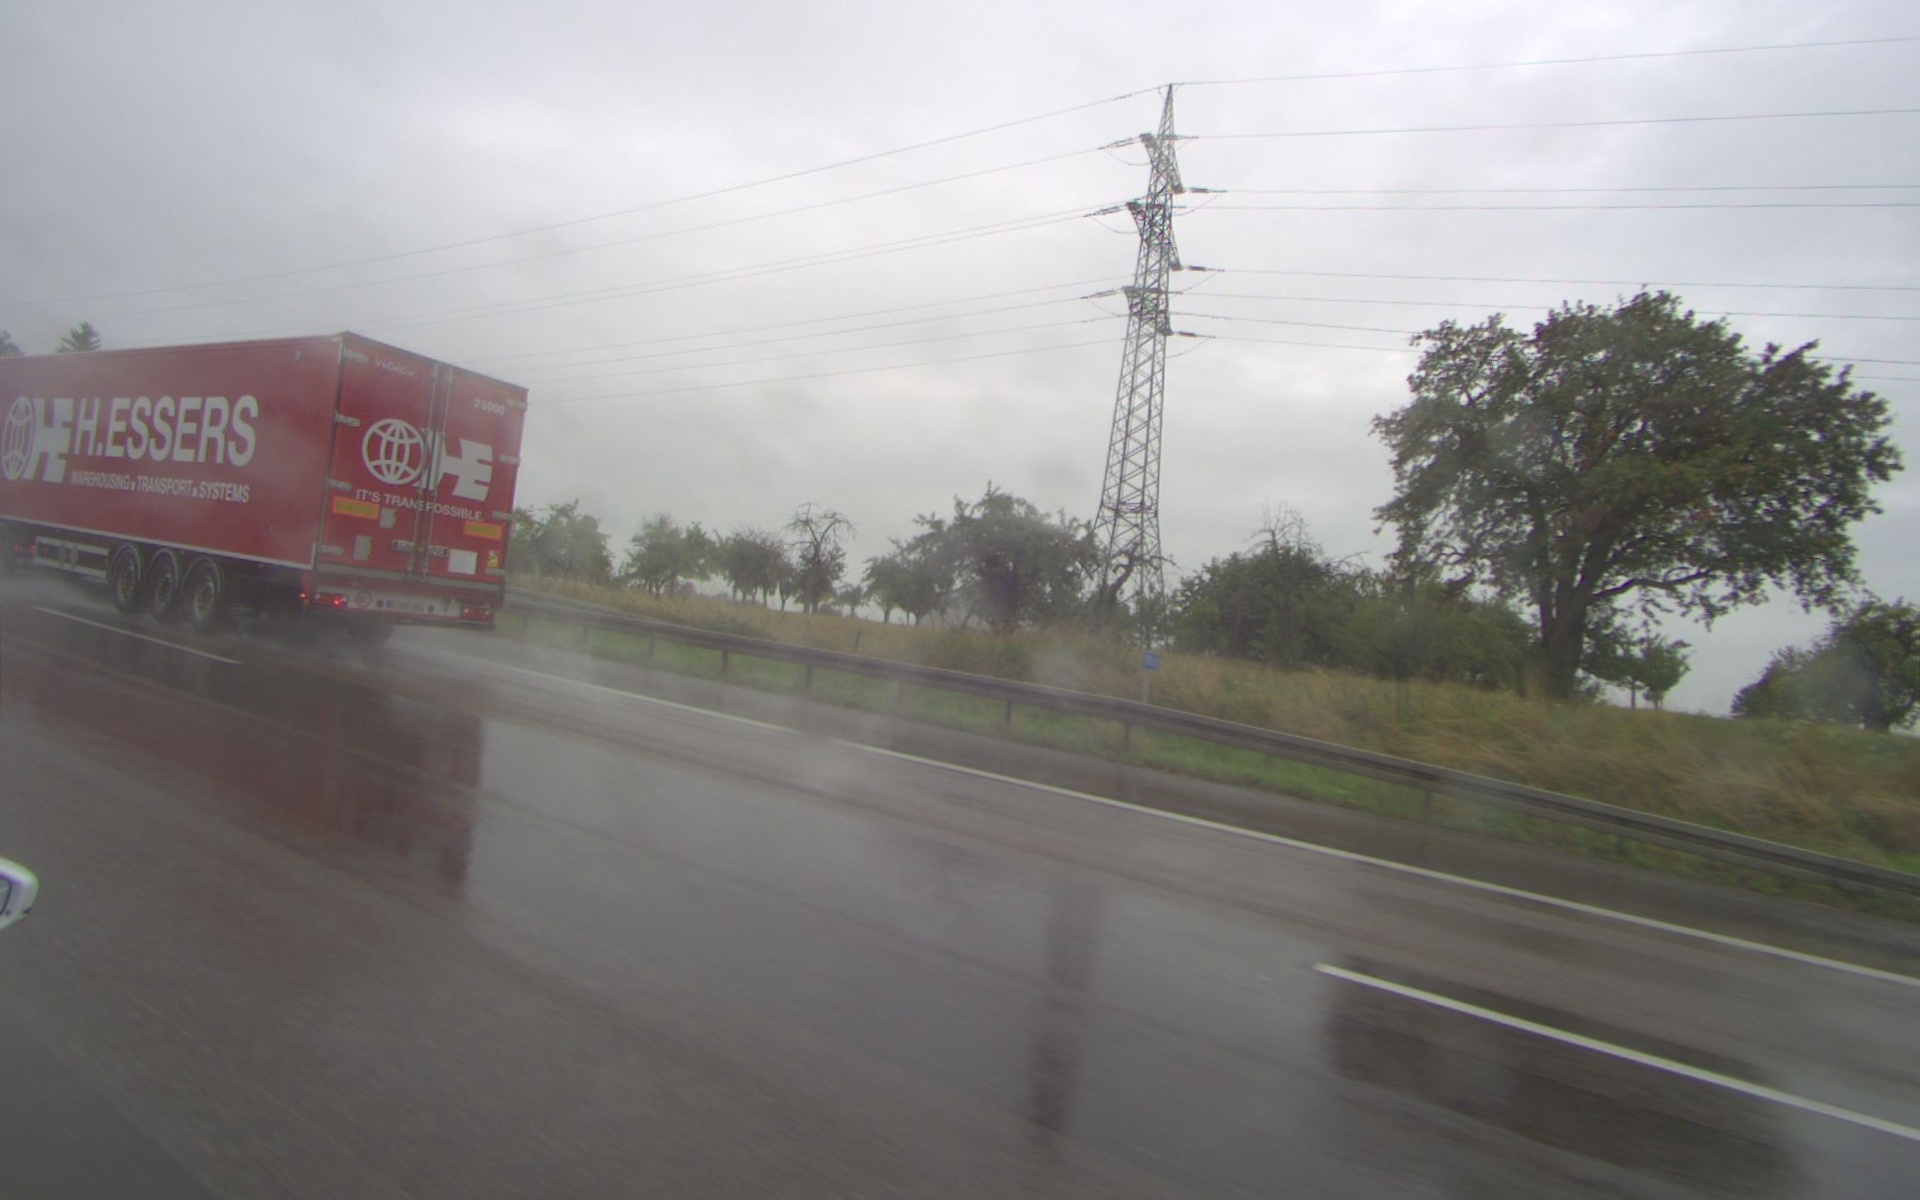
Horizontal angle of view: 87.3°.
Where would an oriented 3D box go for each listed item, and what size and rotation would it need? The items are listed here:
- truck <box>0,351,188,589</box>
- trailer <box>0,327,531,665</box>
[{"bbox_3d":[-18.590,-2.577,20.390,5.343,4.003,2.624,7,-1,32],"label":"truck"},{"bbox_3d":[-12.696,-1.840,16.736,13.403,4.003,2.624,7,-1,32],"label":"trailer"}]
